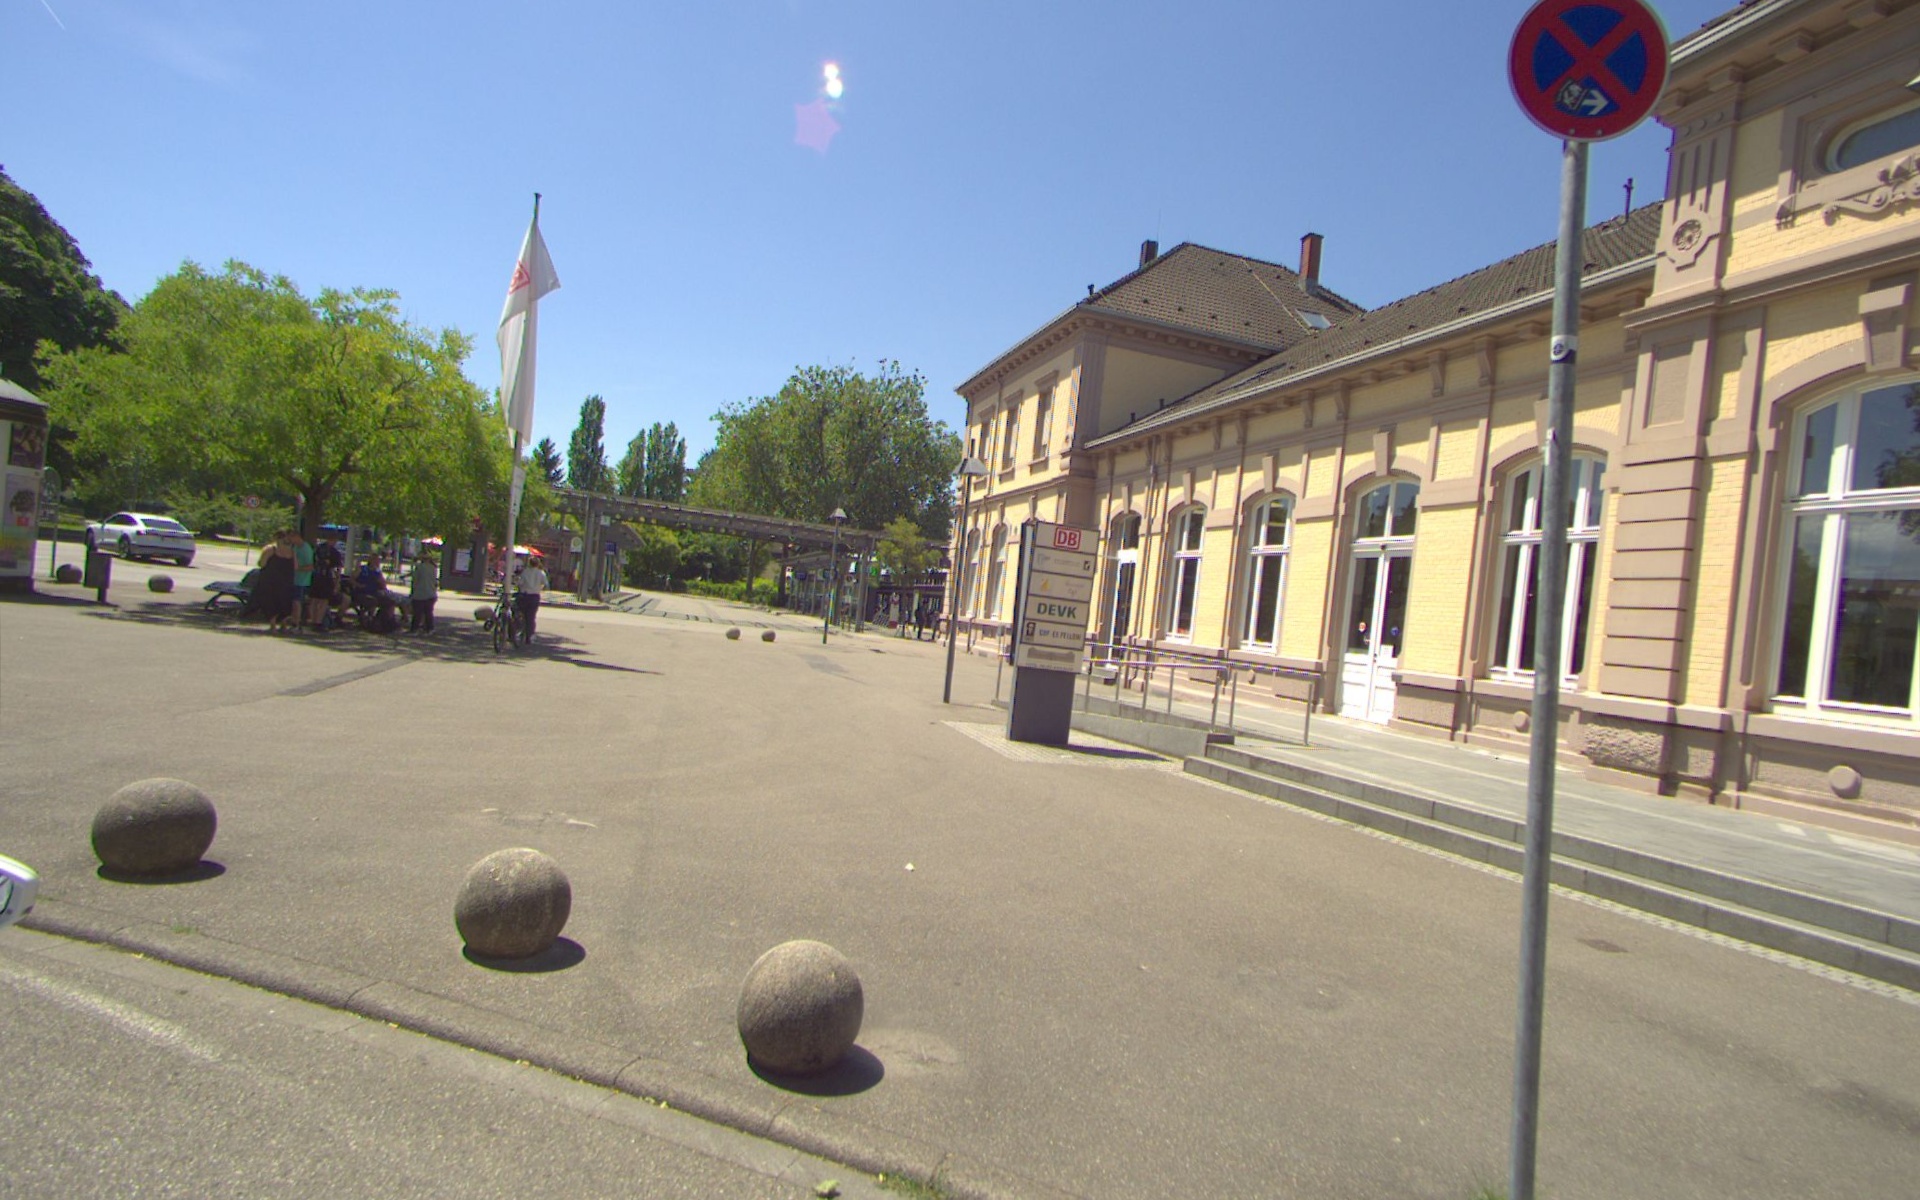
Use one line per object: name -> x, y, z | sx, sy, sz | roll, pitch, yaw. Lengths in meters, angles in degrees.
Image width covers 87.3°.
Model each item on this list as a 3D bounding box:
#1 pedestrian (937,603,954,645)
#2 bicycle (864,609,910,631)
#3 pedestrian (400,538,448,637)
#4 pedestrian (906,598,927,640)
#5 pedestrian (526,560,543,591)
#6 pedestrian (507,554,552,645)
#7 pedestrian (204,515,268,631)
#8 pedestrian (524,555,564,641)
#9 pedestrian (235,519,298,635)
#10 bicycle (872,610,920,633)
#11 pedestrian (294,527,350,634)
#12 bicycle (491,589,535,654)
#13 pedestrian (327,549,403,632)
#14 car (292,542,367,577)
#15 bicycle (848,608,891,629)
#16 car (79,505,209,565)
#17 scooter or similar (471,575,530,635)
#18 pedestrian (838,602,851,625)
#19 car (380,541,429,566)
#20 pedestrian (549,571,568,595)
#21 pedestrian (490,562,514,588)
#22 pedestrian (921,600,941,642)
pedestrian -> -0.656, 1.102, 45.774 | 0.541, 1.832, 0.498 | 6, 1, 4
bicycle -> -4.674, 1.284, 64.259 | 2.756, 1.015, 0.808 | 9, -2, -18
pedestrian -> -9.984, -0.228, 18.735 | 0.563, 1.761, 0.509 | 6, 0, 45
pedestrian -> -1.991, 0.889, 45.815 | 0.677, 1.832, 0.632 | 6, 0, 5
pedestrian -> -25.023, -1.425, 59.152 | 0.678, 1.759, 0.705 | 6, 0, -16
pedestrian -> -8.454, -0.021, 19.759 | 0.612, 1.706, 0.587 | 6, 0, -28
pedestrian -> -11.720, -0.437, 16.294 | 0.687, 1.785, 0.580 | 6, 0, -36
pedestrian -> -8.537, -0.045, 20.636 | 0.548, 1.706, 0.583 | 6, 0, -28
pedestrian -> -11.004, -0.367, 15.969 | 0.623, 1.761, 0.541 | 6, 0, -42
bicycle -> -4.022, 1.332, 63.051 | 2.756, 1.015, 0.808 | 9, -2, -18
pedestrian -> -10.969, -0.338, 17.299 | 0.581, 1.761, 0.593 | 6, 0, -41
bicycle -> -8.028, 0.361, 18.105 | 0.415, 1.073, 1.942 | 6, -1, -18
pedestrian -> -11.007, -0.179, 18.612 | 0.932, 1.403, 0.907 | 6, 0, 44
car -> -31.287, -1.964, 50.056 | 1.902, 1.479, 4.709 | 4, 0, -17
bicycle -> -6.294, 1.276, 69.916 | 2.756, 1.015, 0.808 | 9, -2, -18
car -> -29.195, -2.328, 35.974 | 4.697, 1.647, 1.985 | 6, 0, 30
scooter or similar -> -9.606, 0.110, 21.055 | 1.015, 1.153, 0.293 | 6, 0, -24
pedestrian -> -7.347, 0.838, 63.838 | 0.617, 1.412, 0.674 | 5, 0, -16
car -> -61.886, -5.214, 112.023 | 4.795, 2.200, 2.208 | 6, 0, 25
pedestrian -> -22.363, -0.934, 56.058 | 0.750, 1.219, 0.735 | 8, -1, -16
pedestrian -> -25.311, -1.378, 55.588 | 0.678, 1.328, 0.891 | 6, 0, 39
pedestrian -> -1.308, 0.952, 45.578 | 0.619, 1.832, 0.596 | 6, 1, 5
